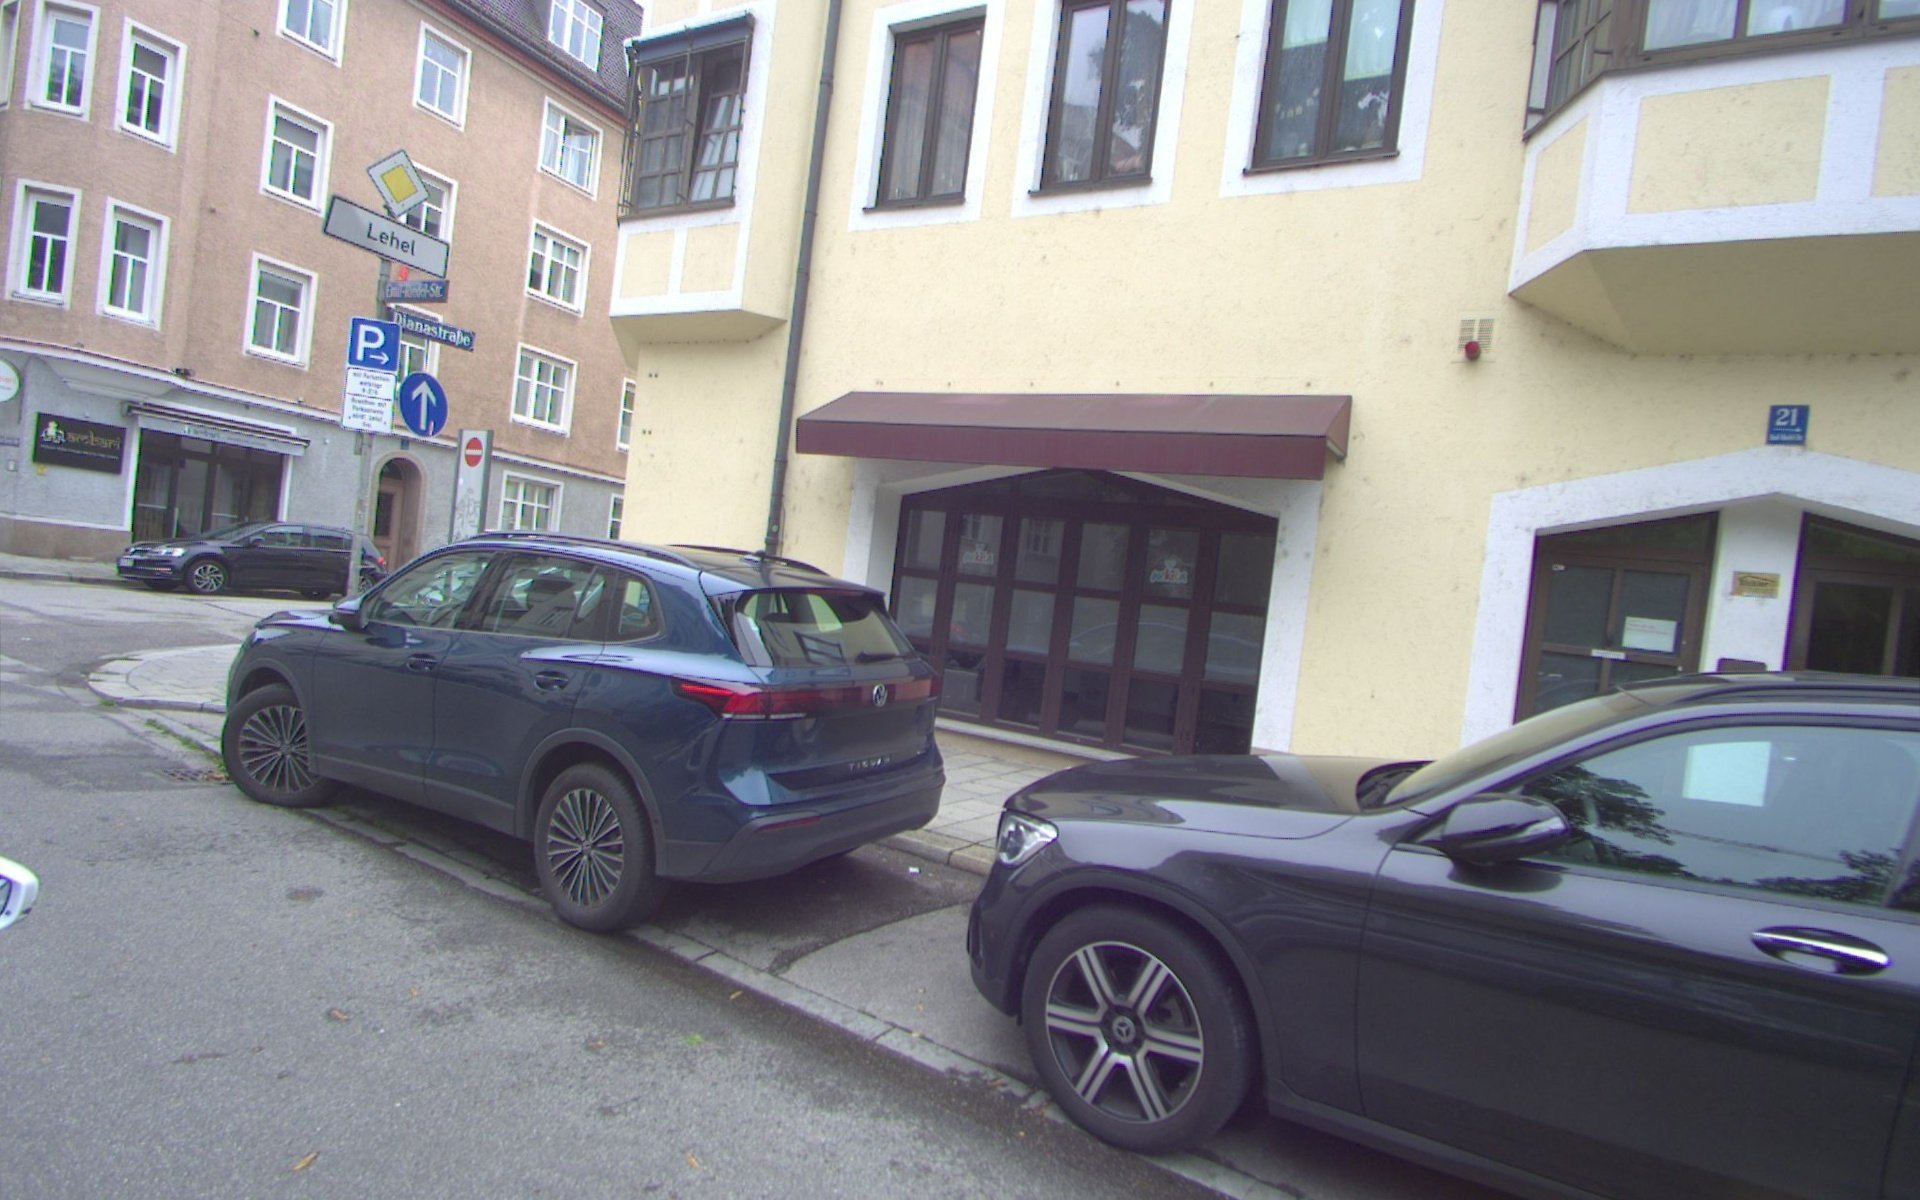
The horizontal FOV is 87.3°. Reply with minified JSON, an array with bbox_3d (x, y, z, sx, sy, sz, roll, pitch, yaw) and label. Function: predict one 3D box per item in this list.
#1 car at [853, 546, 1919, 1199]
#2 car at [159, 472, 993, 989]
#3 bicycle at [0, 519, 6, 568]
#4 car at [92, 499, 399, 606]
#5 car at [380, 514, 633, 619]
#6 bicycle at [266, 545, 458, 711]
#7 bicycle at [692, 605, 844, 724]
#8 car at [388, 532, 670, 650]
[{"bbox_3d":[2.117,0.944,2.857,4.630,1.701,1.757,7,2,33],"label":"car"},{"bbox_3d":[-2.263,0.372,5.523,4.434,1.701,1.820,7,2,31],"label":"car"},{"bbox_3d":[-16.597,-1.021,16.901,1.304,0.815,0.457,7,0,32],"label":"bicycle"},{"bbox_3d":[-13.055,-0.815,18.669,1.893,1.446,4.177,5,-1,29],"label":"car"},{"bbox_3d":[-10.499,-0.711,23.793,2.064,1.876,5.136,5,-1,29],"label":"car"},{"bbox_3d":[-5.366,0.225,8.981,1.962,1.222,0.514,7,0,32],"label":"bicycle"},{"bbox_3d":[-2.000,0.645,10.356,1.656,0.989,0.271,7,0,30],"label":"bicycle"},{"bbox_3d":[-7.148,-0.082,17.107,1.717,1.475,4.042,9,1,31],"label":"car"}]
